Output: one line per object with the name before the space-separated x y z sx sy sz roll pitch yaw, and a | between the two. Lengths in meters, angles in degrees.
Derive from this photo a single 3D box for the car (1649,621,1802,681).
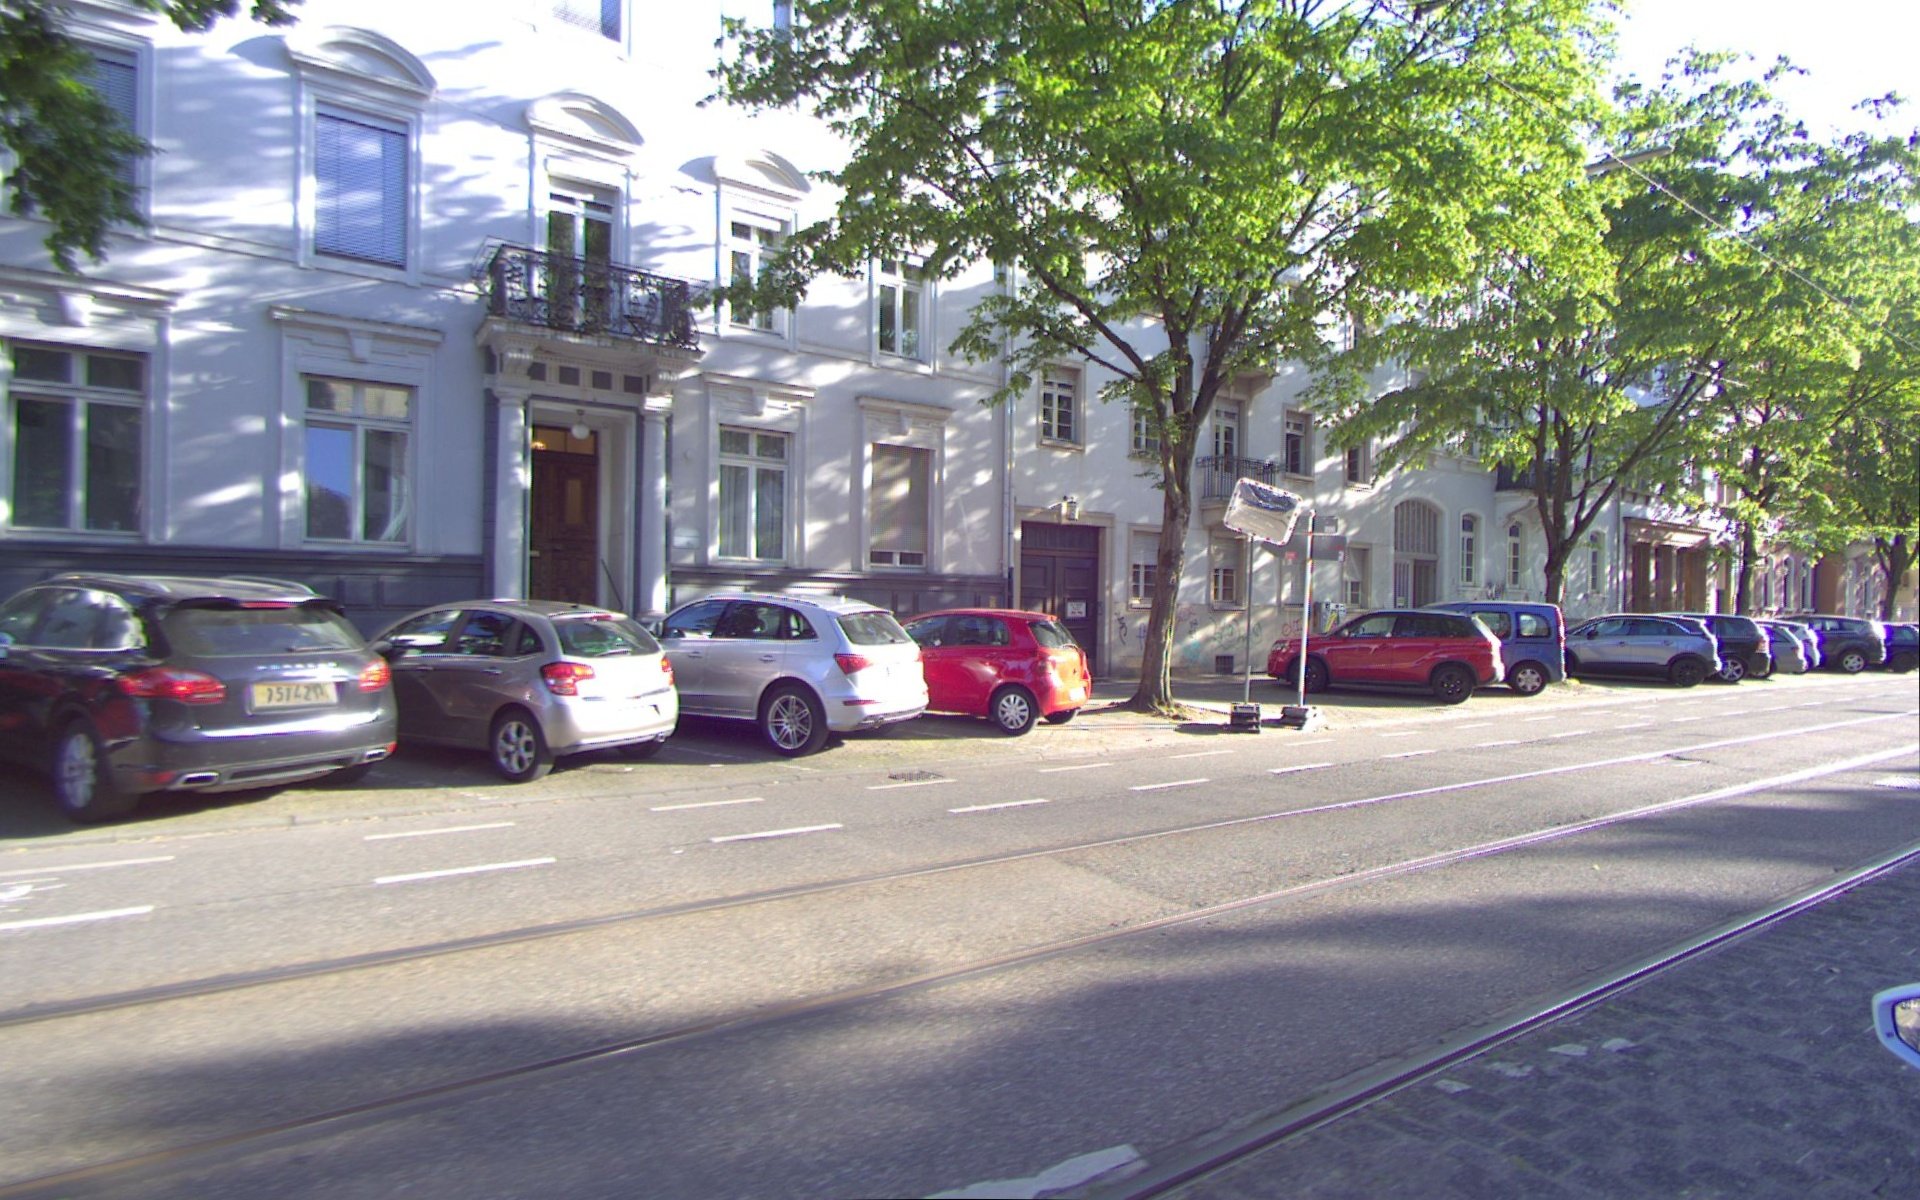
car | 20.688 1.347 27.293 3.227 1.504 1.466 0 -1 34

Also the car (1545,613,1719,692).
car | 15.979 1.208 24.079 3.322 1.720 1.403 1 0 29

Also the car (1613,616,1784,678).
car | 18.665 1.143 25.562 3.322 1.438 1.403 1 -1 29

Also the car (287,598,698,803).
car | -4.526 0.845 9.774 3.498 1.684 1.737 0 -1 23

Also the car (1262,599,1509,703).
car | 7.932 0.884 18.826 4.098 1.743 1.581 1 0 29

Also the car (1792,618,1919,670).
car | 29.554 1.420 33.040 3.227 1.606 1.466 0 -1 34

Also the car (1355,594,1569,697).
car | 10.288 0.883 20.784 3.769 1.856 1.730 2 0 26

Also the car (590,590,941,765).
car | -2.190 0.782 11.405 3.614 1.744 1.611 0 -1 21

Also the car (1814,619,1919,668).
car | 31.850 1.485 34.864 3.227 1.606 1.466 0 -1 34

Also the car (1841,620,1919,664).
car | 35.355 1.572 37.727 3.227 1.606 1.466 0 -1 34

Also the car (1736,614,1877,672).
car | 26.418 1.307 31.469 3.227 1.721 1.466 0 -1 34

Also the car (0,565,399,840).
car | -6.371 0.661 7.765 3.614 1.744 1.611 0 -1 21

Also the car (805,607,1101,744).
car | -0.089 0.916 13.340 3.614 1.548 1.483 1 0 21
